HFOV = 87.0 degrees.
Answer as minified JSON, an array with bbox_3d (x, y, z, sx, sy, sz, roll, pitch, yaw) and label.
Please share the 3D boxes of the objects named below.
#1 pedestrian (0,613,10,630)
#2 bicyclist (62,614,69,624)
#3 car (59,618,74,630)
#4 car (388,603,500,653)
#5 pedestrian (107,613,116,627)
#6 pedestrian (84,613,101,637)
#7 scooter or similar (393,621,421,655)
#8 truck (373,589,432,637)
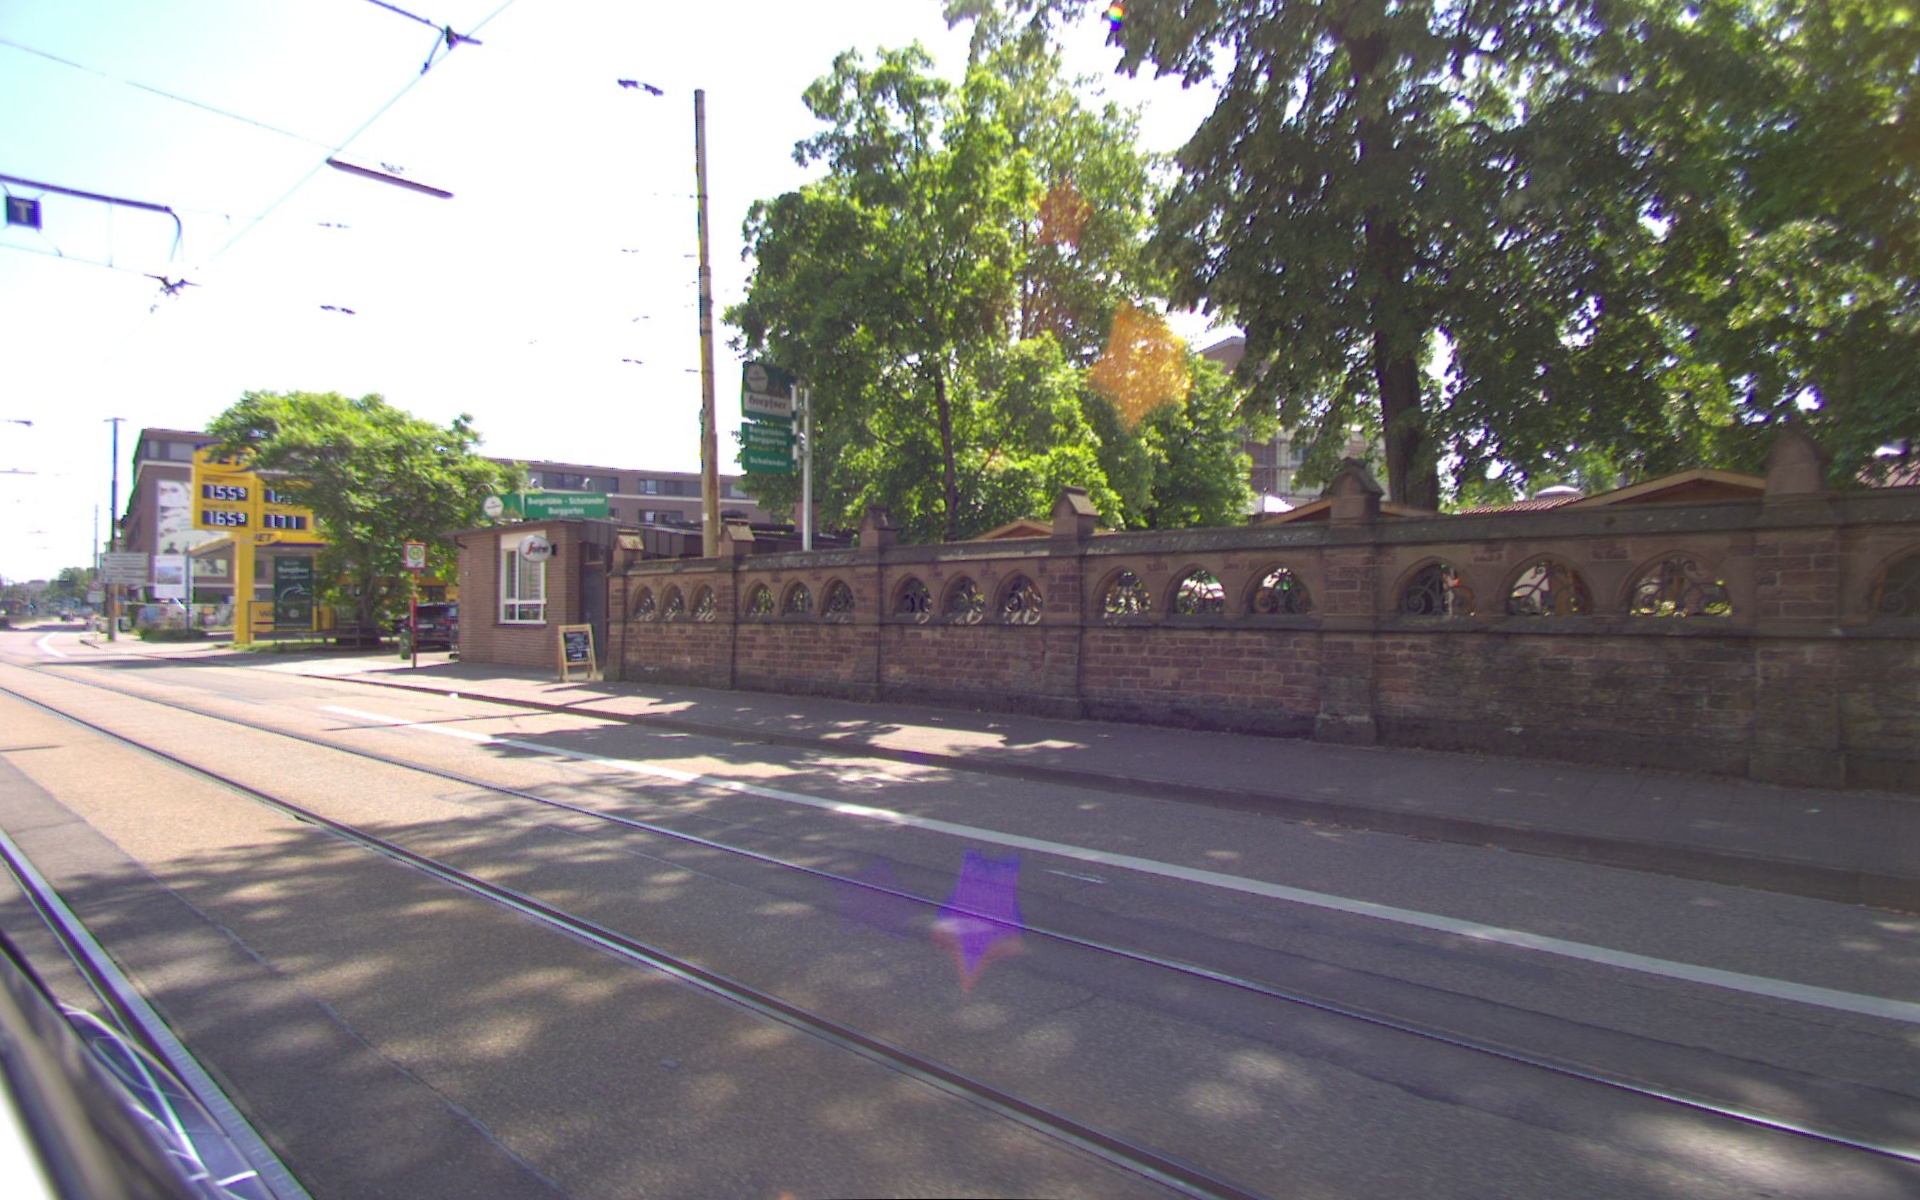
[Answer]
[{"bbox_3d":[-96.669,2.137,102.423,0.751,1.708,0.810,2,-2,-42],"label":"pedestrian"},{"bbox_3d":[-145.606,3.112,164.729,1.065,1.516,0.750,-1,-2,43],"label":"bicyclist"},{"bbox_3d":[-161.450,4.353,182.852,1.992,2.029,4.005,-2,0,-42],"label":"car"},{"bbox_3d":[-17.769,0.952,35.103,1.970,1.602,4.338,0,-1,-5],"label":"car"},{"bbox_3d":[-95.632,2.279,114.100,0.677,1.608,0.762,2,-2,-42],"label":"pedestrian"},{"bbox_3d":[-60.948,1.732,71.087,1.000,1.608,0.751,-1,2,44],"label":"pedestrian"},{"bbox_3d":[-19.691,1.327,36.051,0.400,1.183,1.362,0,-1,-6],"label":"scooter or similar"},{"bbox_3d":[-30.833,0.732,56.108,1.966,2.517,5.219,0,-1,-19],"label":"truck"}]
